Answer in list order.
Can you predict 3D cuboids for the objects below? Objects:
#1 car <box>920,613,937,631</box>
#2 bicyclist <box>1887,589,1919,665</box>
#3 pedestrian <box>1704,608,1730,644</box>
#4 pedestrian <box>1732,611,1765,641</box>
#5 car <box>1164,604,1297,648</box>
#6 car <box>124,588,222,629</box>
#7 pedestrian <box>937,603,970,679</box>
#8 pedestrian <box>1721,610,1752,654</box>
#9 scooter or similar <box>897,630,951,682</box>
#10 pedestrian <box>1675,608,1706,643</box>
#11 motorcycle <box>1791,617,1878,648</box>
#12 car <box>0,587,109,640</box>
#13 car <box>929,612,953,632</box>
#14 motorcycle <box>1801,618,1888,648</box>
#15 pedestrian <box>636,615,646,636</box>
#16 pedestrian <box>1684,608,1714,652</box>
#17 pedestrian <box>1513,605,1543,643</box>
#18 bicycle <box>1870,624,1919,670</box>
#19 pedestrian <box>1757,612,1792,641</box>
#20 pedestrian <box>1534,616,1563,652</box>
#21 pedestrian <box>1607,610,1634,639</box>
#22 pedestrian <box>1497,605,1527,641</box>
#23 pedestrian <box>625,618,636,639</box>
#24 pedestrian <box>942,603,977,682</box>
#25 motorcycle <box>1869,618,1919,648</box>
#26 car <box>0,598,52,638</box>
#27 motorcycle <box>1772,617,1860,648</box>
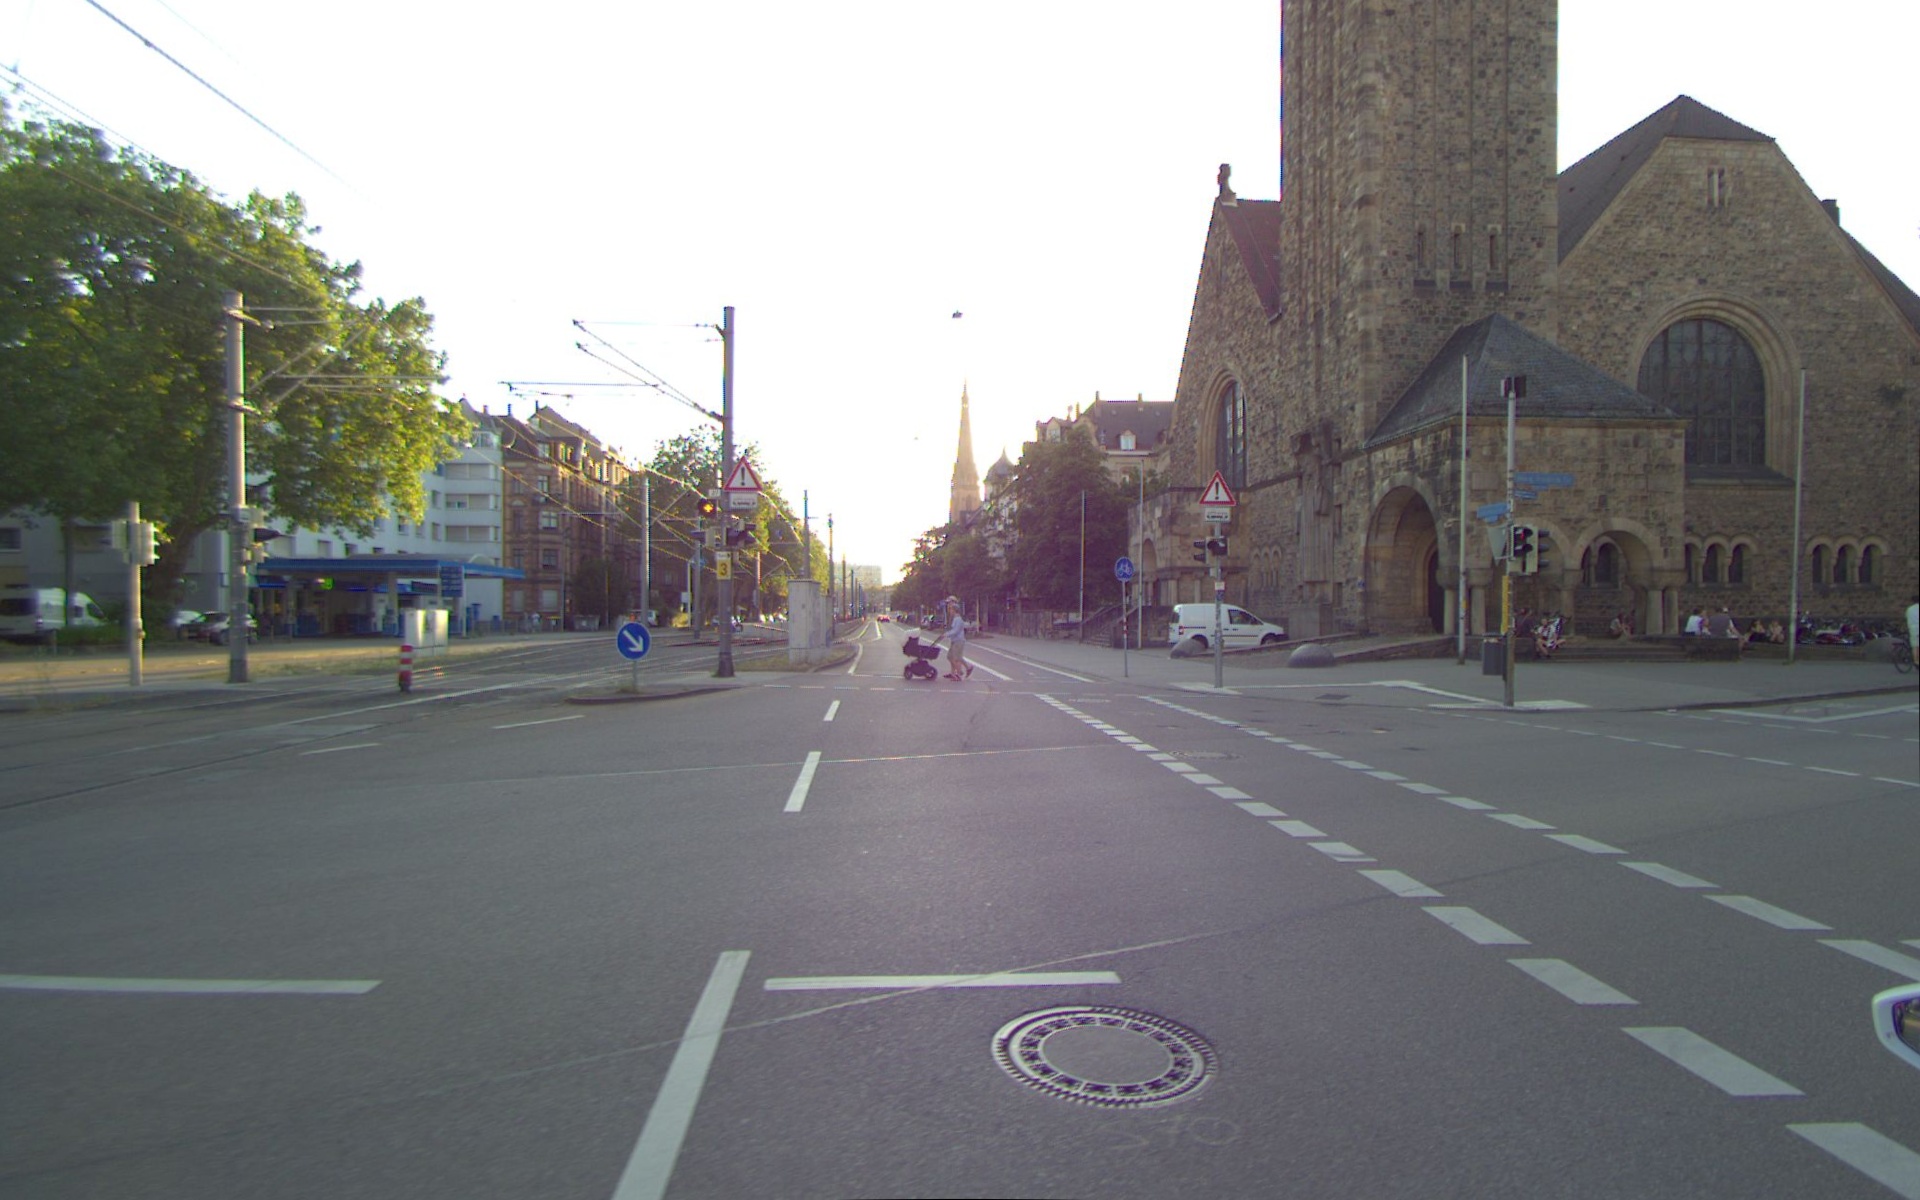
[{"bbox_3d":[-3.691,2.536,118.765,1.961,2.040,3.999,1,0,-2],"label":"car"},{"bbox_3d":[23.614,0.654,24.859,0.846,1.852,0.655,1,0,-20],"label":"bicyclist"},{"bbox_3d":[20.903,0.707,27.737,0.476,0.973,0.516,0,0,-44],"label":"pedestrian"},{"bbox_3d":[26.458,0.879,33.707,0.696,0.973,0.553,1,0,-8],"label":"pedestrian"},{"bbox_3d":[9.846,0.934,36.756,4.370,1.537,1.718,1,0,-4],"label":"car"},{"bbox_3d":[-37.953,0.380,48.574,1.882,1.873,3.996,1,0,-6],"label":"car"},{"bbox_3d":[-0.150,0.931,23.057,0.593,1.721,0.633,1,0,-17],"label":"pedestrian"},{"bbox_3d":[22.388,0.910,28.947,0.514,1.262,0.478,1,0,-11],"label":"pedestrian"},{"bbox_3d":[-0.791,1.225,22.155,1.061,1.118,0.633,1,0,-18],"label":"scooter or similar"},{"bbox_3d":[20.648,0.704,28.384,0.471,0.973,0.522,1,0,-11],"label":"pedestrian"},{"bbox_3d":[30.880,1.141,35.508,0.700,1.001,2.230,1,0,-33],"label":"motorcycle"},{"bbox_3d":[-43.203,0.619,47.973,1.962,2.375,3.996,1,0,-6],"label":"car"},{"bbox_3d":[-1.997,2.238,103.066,1.963,2.040,3.994,1,0,-9],"label":"car"},{"bbox_3d":[31.576,1.149,35.879,0.700,1.001,2.230,1,0,-33],"label":"motorcycle"},{"bbox_3d":[-30.827,2.440,97.119,0.837,2.040,0.712,1,0,-8],"label":"pedestrian"},{"bbox_3d":[21.458,0.859,29.165,0.514,1.262,0.478,1,0,-11],"label":"pedestrian"},{"bbox_3d":[15.136,0.635,26.776,0.470,0.973,0.522,1,0,-9],"label":"pedestrian"},{"bbox_3d":[23.594,1.159,24.850,2.211,1.092,0.655,1,0,-21],"label":"bicycle"},{"bbox_3d":[27.255,0.888,33.616,0.696,0.973,0.553,1,0,-8],"label":"pedestrian"},{"bbox_3d":[16.088,0.926,27.450,0.513,0.973,0.479,1,0,2],"label":"pedestrian"},{"bbox_3d":[22.594,0.831,34.339,0.702,0.973,0.548,1,0,-35],"label":"pedestrian"},{"bbox_3d":[15.090,0.635,27.460,0.470,0.973,0.522,1,0,-9],"label":"pedestrian"},{"bbox_3d":[-31.780,2.732,96.924,0.837,2.040,0.712,1,0,-8],"label":"pedestrian"},{"bbox_3d":[-0.011,0.933,22.422,0.593,1.721,0.633,1,0,-17],"label":"pedestrian"},{"bbox_3d":[34.021,1.180,36.067,0.583,1.001,2.169,1,0,-8],"label":"motorcycle"},{"bbox_3d":[-45.841,0.837,47.807,1.882,1.873,3.996,1,0,-6],"label":"car"},{"bbox_3d":[29.781,1.127,34.994,0.700,1.001,2.230,1,0,-33],"label":"motorcycle"}]
